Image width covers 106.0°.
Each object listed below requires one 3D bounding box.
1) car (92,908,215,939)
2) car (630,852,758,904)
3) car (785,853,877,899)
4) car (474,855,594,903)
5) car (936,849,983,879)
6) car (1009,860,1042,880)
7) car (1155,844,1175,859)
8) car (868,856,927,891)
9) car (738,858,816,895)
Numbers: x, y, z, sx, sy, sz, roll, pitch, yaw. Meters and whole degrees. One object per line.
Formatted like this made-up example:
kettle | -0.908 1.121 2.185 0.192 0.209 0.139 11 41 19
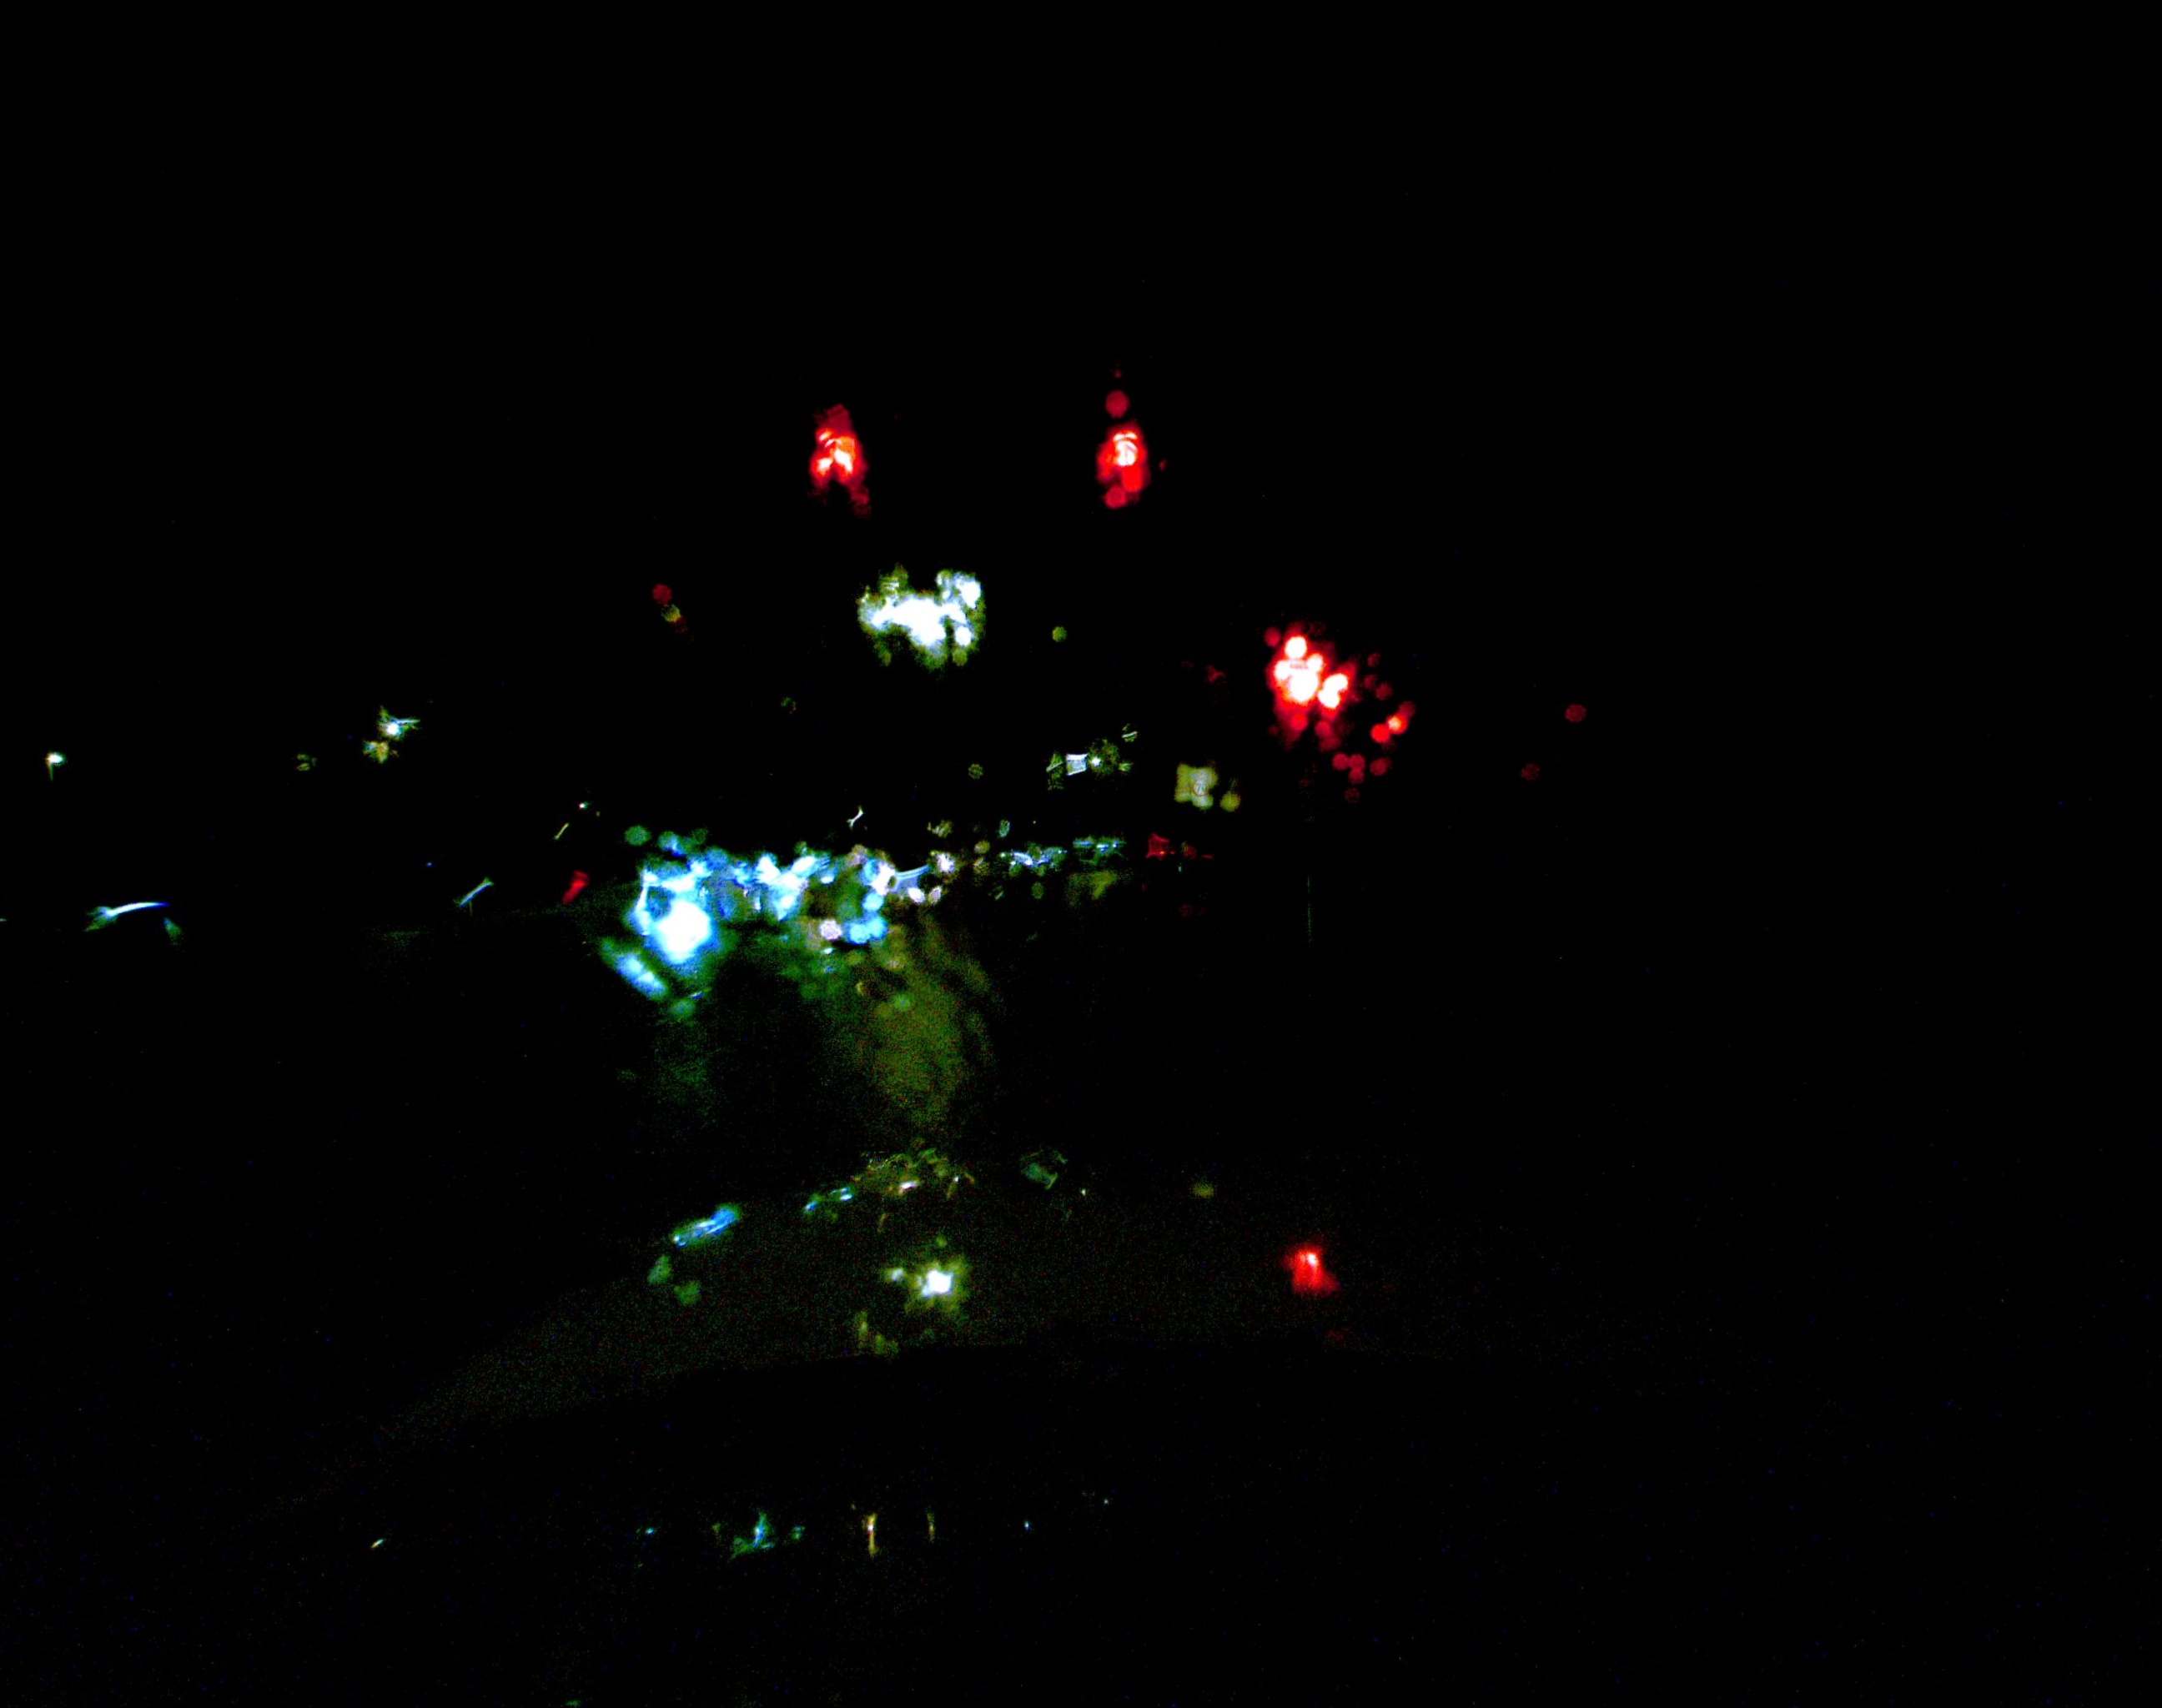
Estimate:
car | -52.203 3.874 45.968 2.166 1.449 4.138 -1 -1 1
car | -12.822 0.744 27.394 1.785 1.571 4.916 -1 0 2
car | -9.231 0.757 30.542 1.691 1.571 4.717 -1 0 4
car | -23.218 1.032 34.759 4.009 1.831 1.706 -2 0 -27
car | -7.306 0.600 49.240 1.708 1.703 4.151 -1 -1 7
car | -4.404 1.258 65.331 1.699 1.534 4.609 -1 -1 7
car | 9.723 -0.242 94.419 1.986 1.611 4.104 -1 -1 2
car | -8.440 0.896 37.770 1.577 1.526 3.657 -1 -1 6
car | -12.575 0.918 33.897 1.661 1.454 3.730 -1 -1 3
